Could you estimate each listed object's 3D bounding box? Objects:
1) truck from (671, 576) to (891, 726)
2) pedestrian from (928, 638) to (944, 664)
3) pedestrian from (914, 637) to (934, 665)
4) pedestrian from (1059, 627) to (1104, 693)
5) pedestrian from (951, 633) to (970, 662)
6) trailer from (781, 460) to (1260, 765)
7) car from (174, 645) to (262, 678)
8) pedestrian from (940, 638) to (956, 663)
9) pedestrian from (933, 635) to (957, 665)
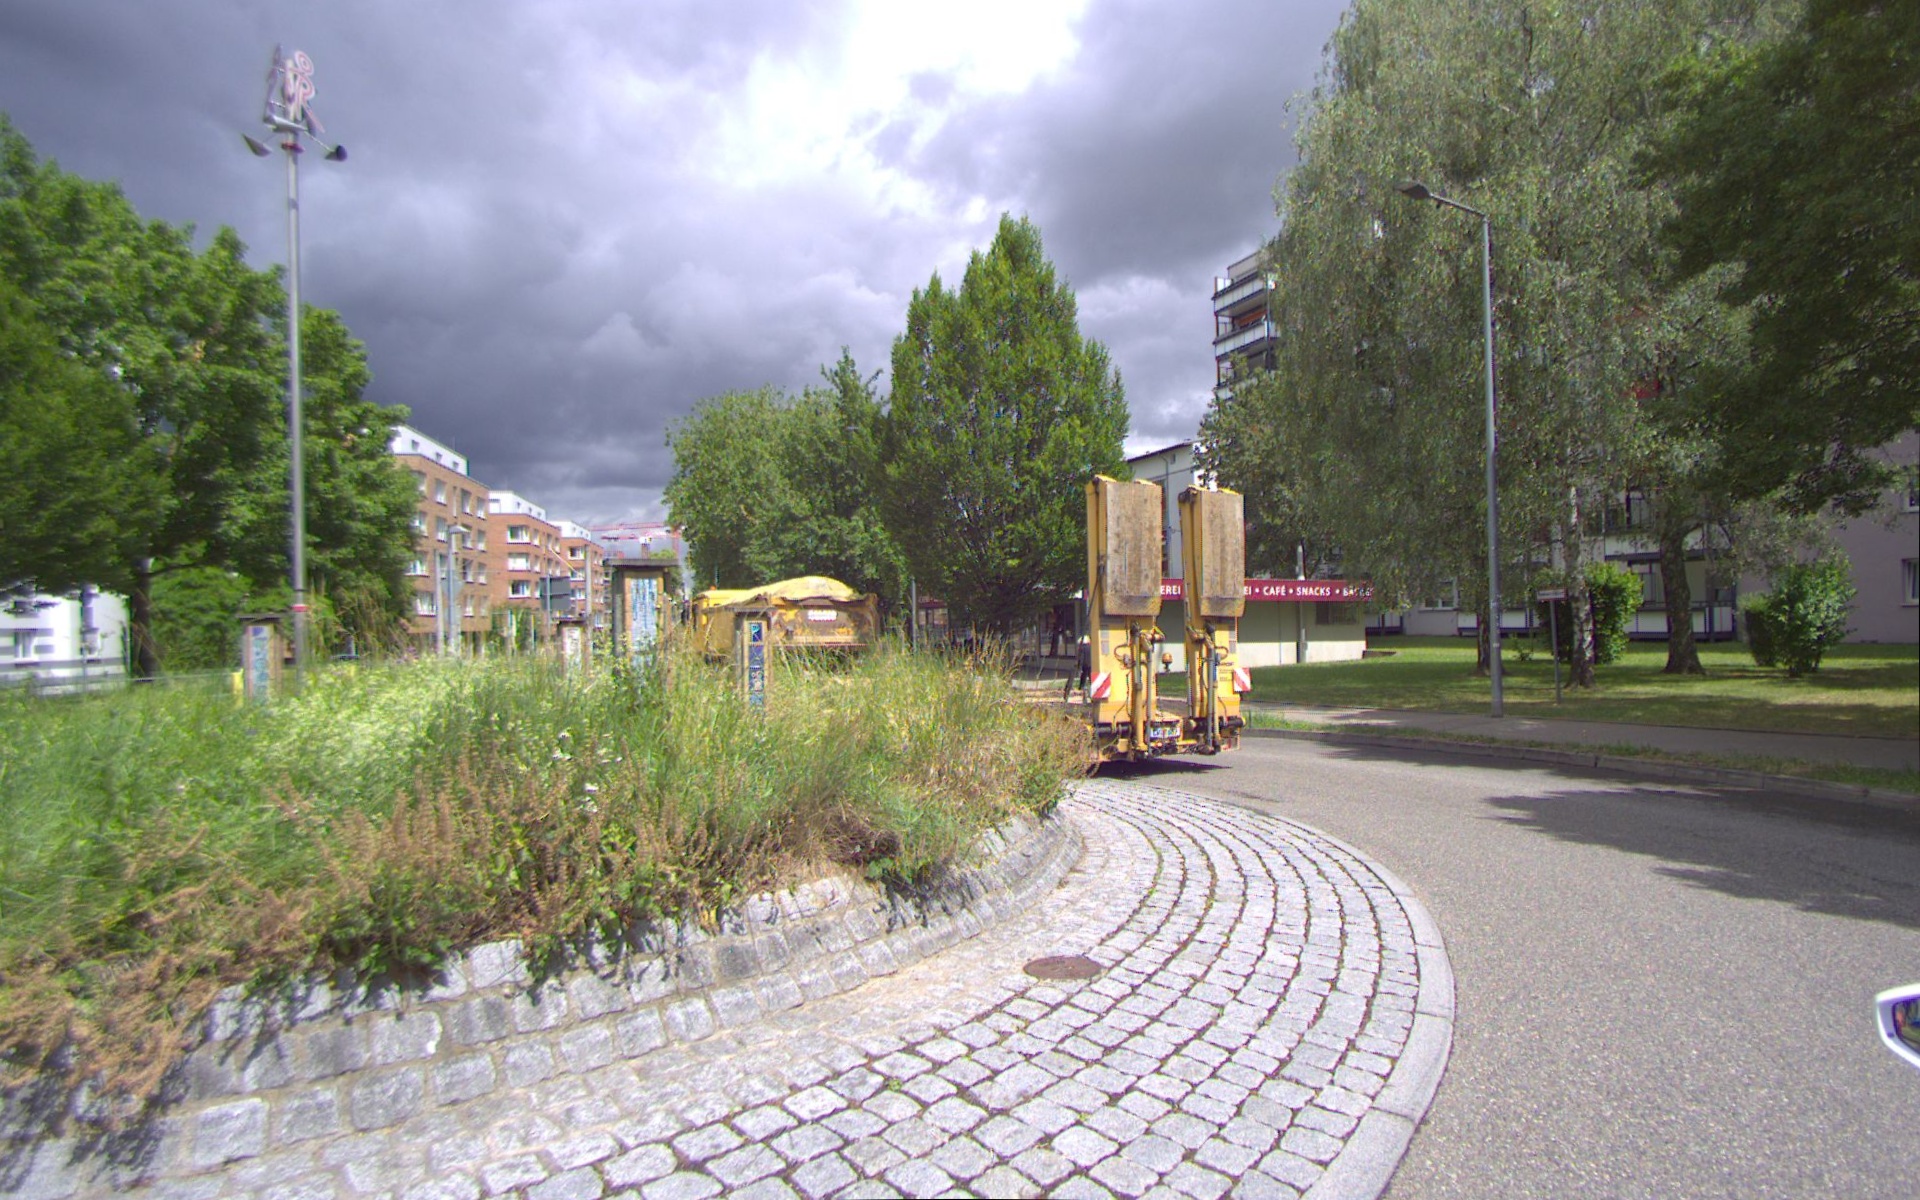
[{"bbox_3d":[-4.786,1.115,24.971,2.960,3.075,8.425,0,-1,-28],"label":"truck"},{"bbox_3d":[-1.207,2.538,50.130,0.707,1.217,0.698,-2,-1,-9],"label":"pedestrian"},{"bbox_3d":[-1.769,2.488,49.152,0.865,1.342,0.609,-2,-1,-14],"label":"pedestrian"},{"bbox_3d":[3.002,1.472,24.786,0.860,1.540,0.801,-1,2,-16],"label":"pedestrian"},{"bbox_3d":[0.030,2.304,48.959,0.708,1.399,0.697,-1,-1,-16],"label":"pedestrian"},{"bbox_3d":[0.032,0.205,16.716,2.837,3.417,10.764,2,-1,-27],"label":"trailer"},{"bbox_3d":[-46.302,3.819,62.750,3.935,1.832,1.993,-1,-1,-17],"label":"car"},{"bbox_3d":[-0.599,2.526,50.132,0.707,1.217,0.698,-2,-1,-9],"label":"pedestrian"},{"bbox_3d":[-0.727,2.419,48.581,0.868,1.342,0.818,-1,1,-23],"label":"pedestrian"}]
